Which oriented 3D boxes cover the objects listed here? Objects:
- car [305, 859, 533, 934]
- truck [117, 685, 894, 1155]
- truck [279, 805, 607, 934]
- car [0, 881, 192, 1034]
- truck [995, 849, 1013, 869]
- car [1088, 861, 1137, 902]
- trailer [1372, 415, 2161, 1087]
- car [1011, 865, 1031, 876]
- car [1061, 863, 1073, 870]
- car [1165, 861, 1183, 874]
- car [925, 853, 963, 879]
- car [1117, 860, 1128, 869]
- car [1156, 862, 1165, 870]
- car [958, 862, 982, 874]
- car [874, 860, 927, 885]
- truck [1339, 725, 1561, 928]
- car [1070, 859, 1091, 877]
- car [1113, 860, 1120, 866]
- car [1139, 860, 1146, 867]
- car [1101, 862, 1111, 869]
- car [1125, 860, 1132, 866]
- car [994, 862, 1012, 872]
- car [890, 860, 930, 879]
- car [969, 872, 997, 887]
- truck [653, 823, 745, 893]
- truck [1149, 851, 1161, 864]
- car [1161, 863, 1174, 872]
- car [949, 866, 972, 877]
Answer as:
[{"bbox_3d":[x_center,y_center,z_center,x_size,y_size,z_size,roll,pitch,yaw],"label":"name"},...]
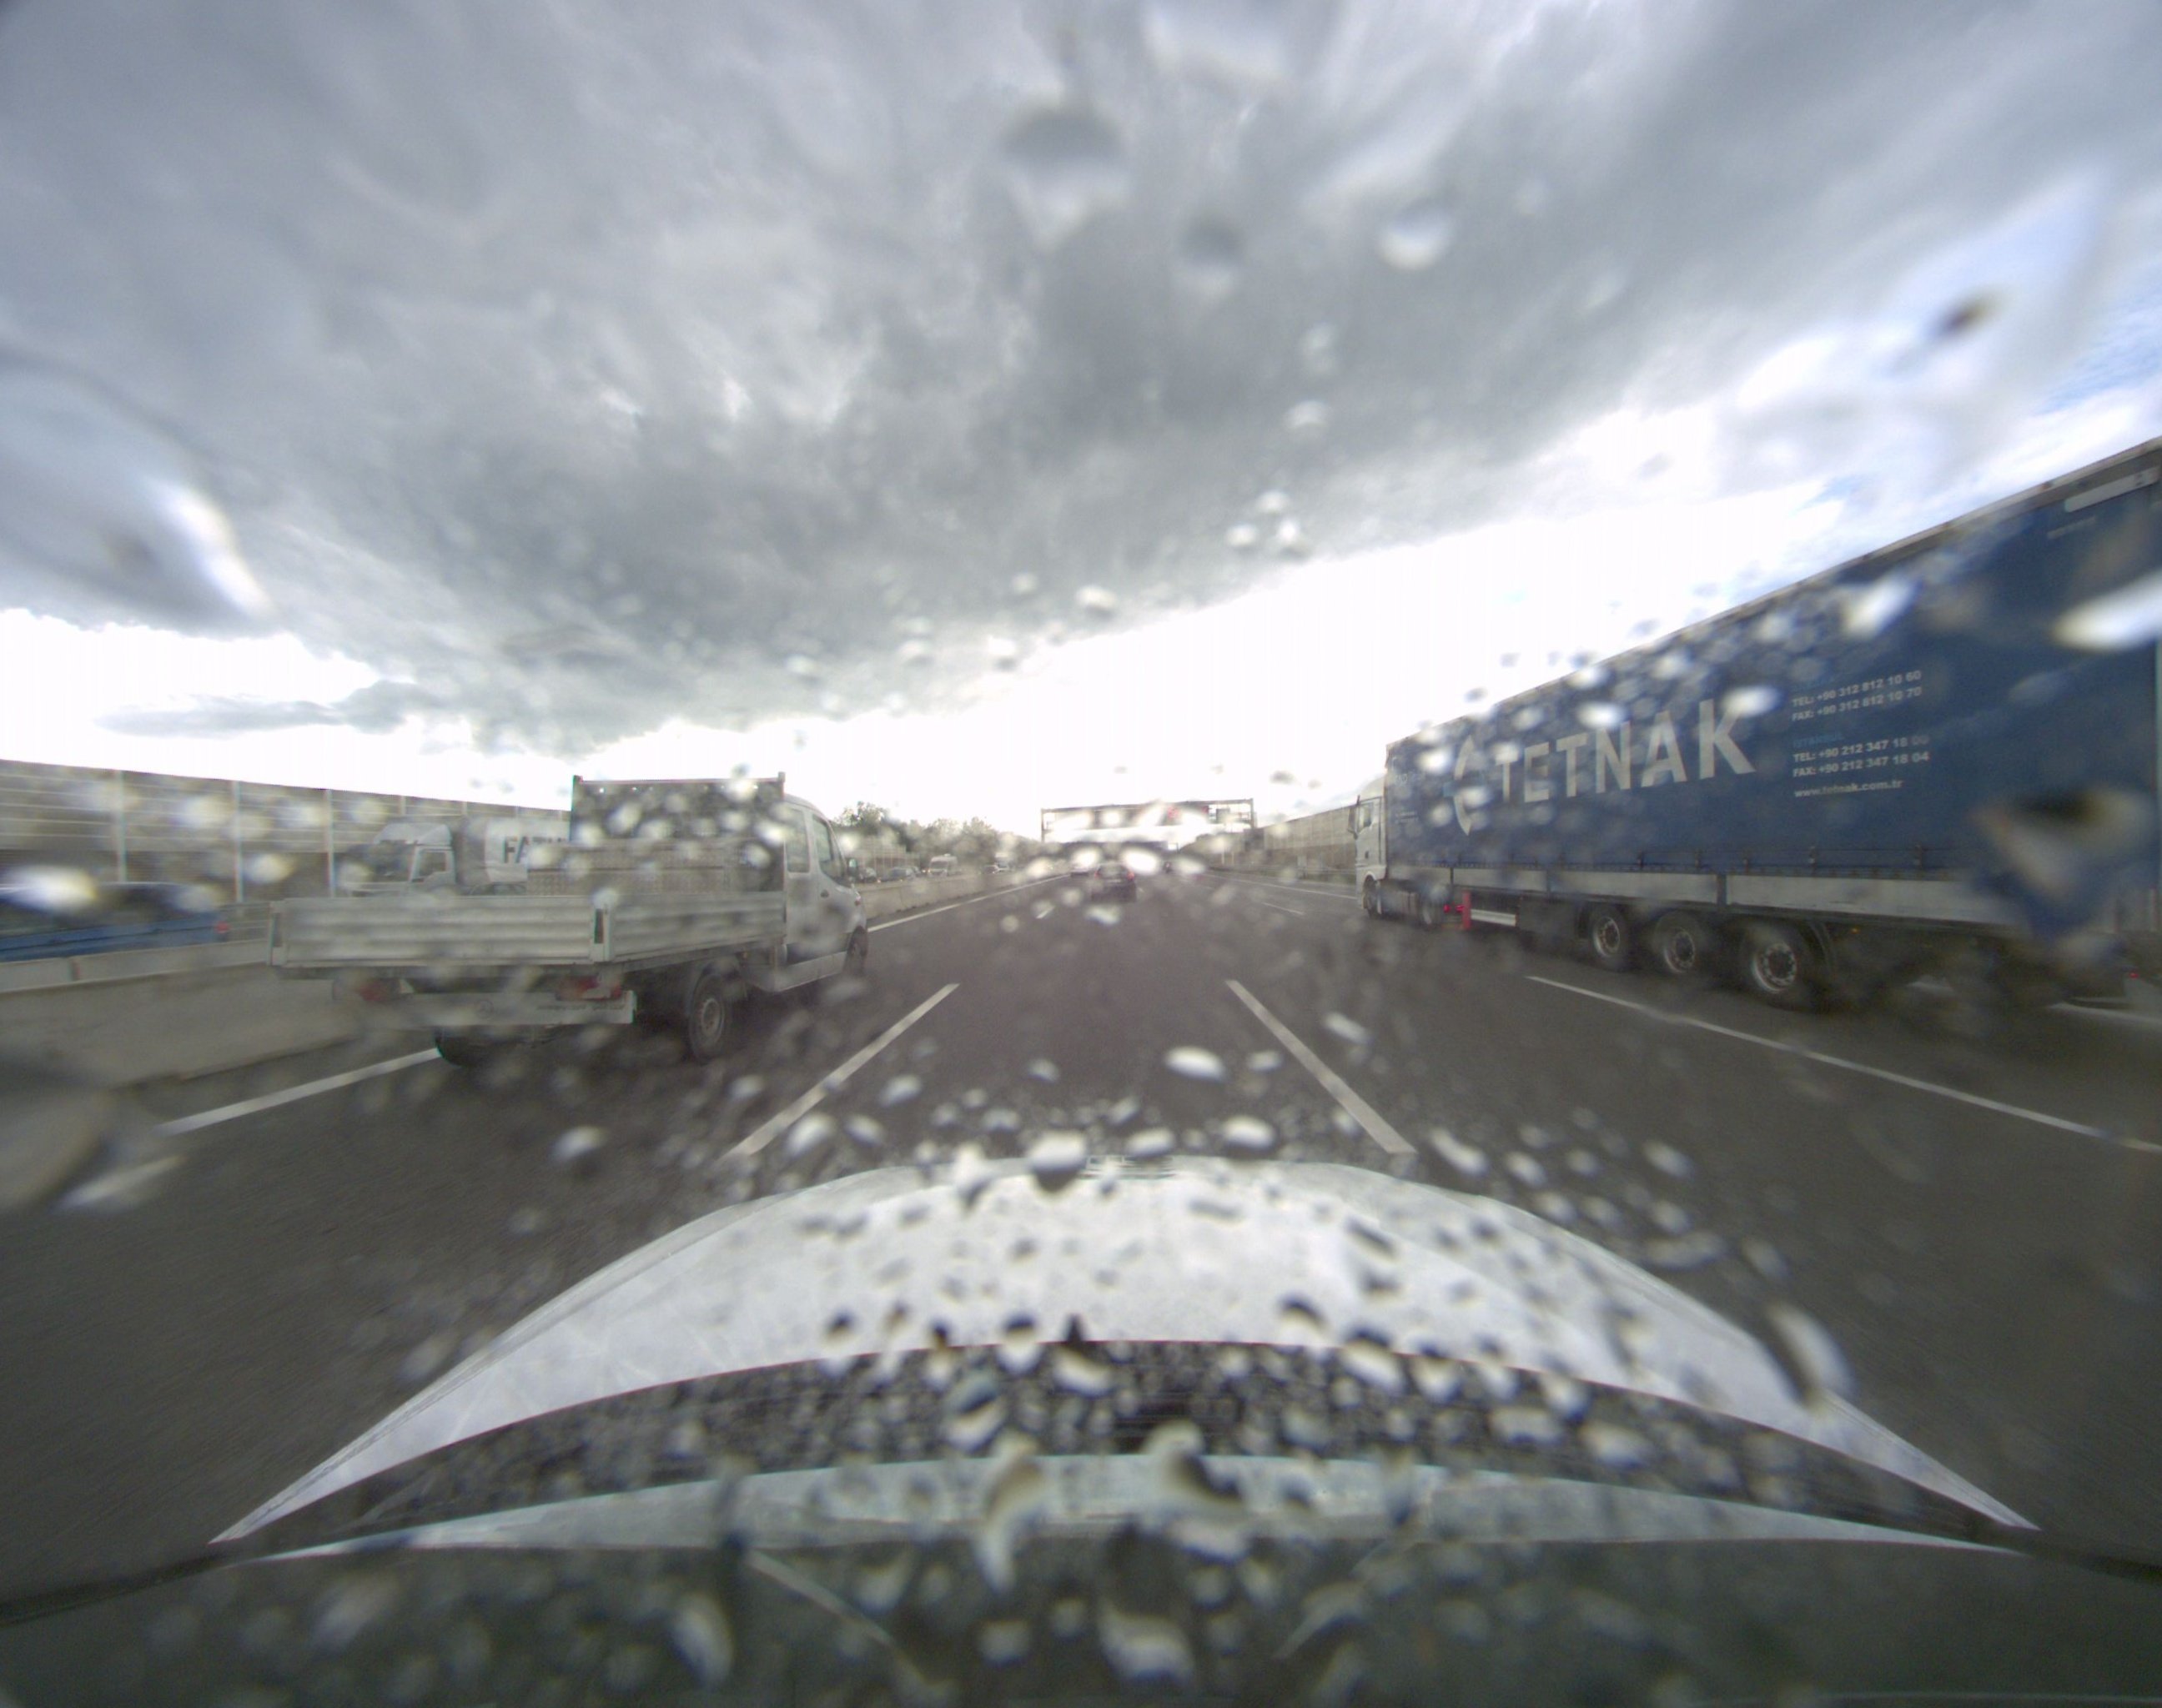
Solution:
[{"bbox_3d":[-17.272,1.022,21.689,1.866,1.699,5.016,-1,0,1],"label":"car"},{"bbox_3d":[-3.867,0.356,7.875,2.299,2.439,7.149,-1,0,1],"label":"truck"},{"bbox_3d":[-20.380,0.460,27.286,2.685,3.527,10.003,0,0,3],"label":"truck"},{"bbox_3d":[-13.356,1.242,9.214,1.866,1.699,4.222,-1,0,1],"label":"car"},{"bbox_3d":[-16.134,0.967,170.881,2.959,4.035,5.731,-1,-1,4],"label":"truck"},{"bbox_3d":[1.205,1.000,31.205,1.711,1.417,4.280,-1,0,2],"label":"car"},{"bbox_3d":[8.090,-0.591,12.046,2.751,4.032,14.458,-1,0,2],"label":"trailer"},{"bbox_3d":[-8.559,2.284,116.099,2.051,1.491,5.002,-2,-1,4],"label":"car"},{"bbox_3d":[-3.206,2.816,186.613,2.051,1.645,5.385,-2,-1,4],"label":"car"},{"bbox_3d":[11.336,1.653,99.463,1.941,1.418,4.236,-2,-1,4],"label":"car"},{"bbox_3d":[-14.407,1.228,86.029,2.373,2.550,7.093,-1,-1,4],"label":"car"},{"bbox_3d":[8.115,2.044,159.600,1.959,1.561,4.437,-2,-1,4],"label":"car"},{"bbox_3d":[17.336,2.577,178.089,1.874,1.561,4.437,-2,-1,4],"label":"car"},{"bbox_3d":[-14.076,1.789,103.859,2.051,1.491,5.002,-2,-1,4],"label":"car"},{"bbox_3d":[-11.584,1.161,52.679,2.052,1.491,5.001,-1,-1,3],"label":"car"},{"bbox_3d":[8.335,-0.538,19.295,2.734,4.035,5.728,-1,-1,2],"label":"truck"},{"bbox_3d":[-0.036,1.338,79.722,1.710,1.624,4.282,-1,0,3],"label":"car"},{"bbox_3d":[10.275,2.726,236.318,1.959,1.561,4.437,-2,-1,4],"label":"car"},{"bbox_3d":[16.125,2.456,213.490,1.959,1.561,4.437,-2,-1,4],"label":"car"},{"bbox_3d":[5.313,2.469,175.141,1.959,1.561,4.437,-2,-1,4],"label":"car"},{"bbox_3d":[13.066,2.521,225.336,1.960,1.561,4.435,-2,-1,3],"label":"car"},{"bbox_3d":[-12.211,2.074,127.700,2.051,1.491,5.002,-2,-1,4],"label":"car"},{"bbox_3d":[-14.797,1.329,70.844,2.051,1.491,5.002,-2,-1,4],"label":"car"},{"bbox_3d":[-10.420,2.731,87.071,2.051,1.491,5.002,-2,-1,4],"label":"car"},{"bbox_3d":[-23.490,0.252,50.434,2.734,4.035,5.728,-1,-1,2],"label":"truck"},{"bbox_3d":[20.478,0.951,226.838,3.138,3.602,12.712,0,0,4],"label":"truck"},{"bbox_3d":[14.365,2.264,135.088,1.875,1.542,4.436,-2,-1,3],"label":"car"},{"bbox_3d":[-17.206,2.420,116.515,2.051,1.491,5.002,-2,-1,4],"label":"car"}]
